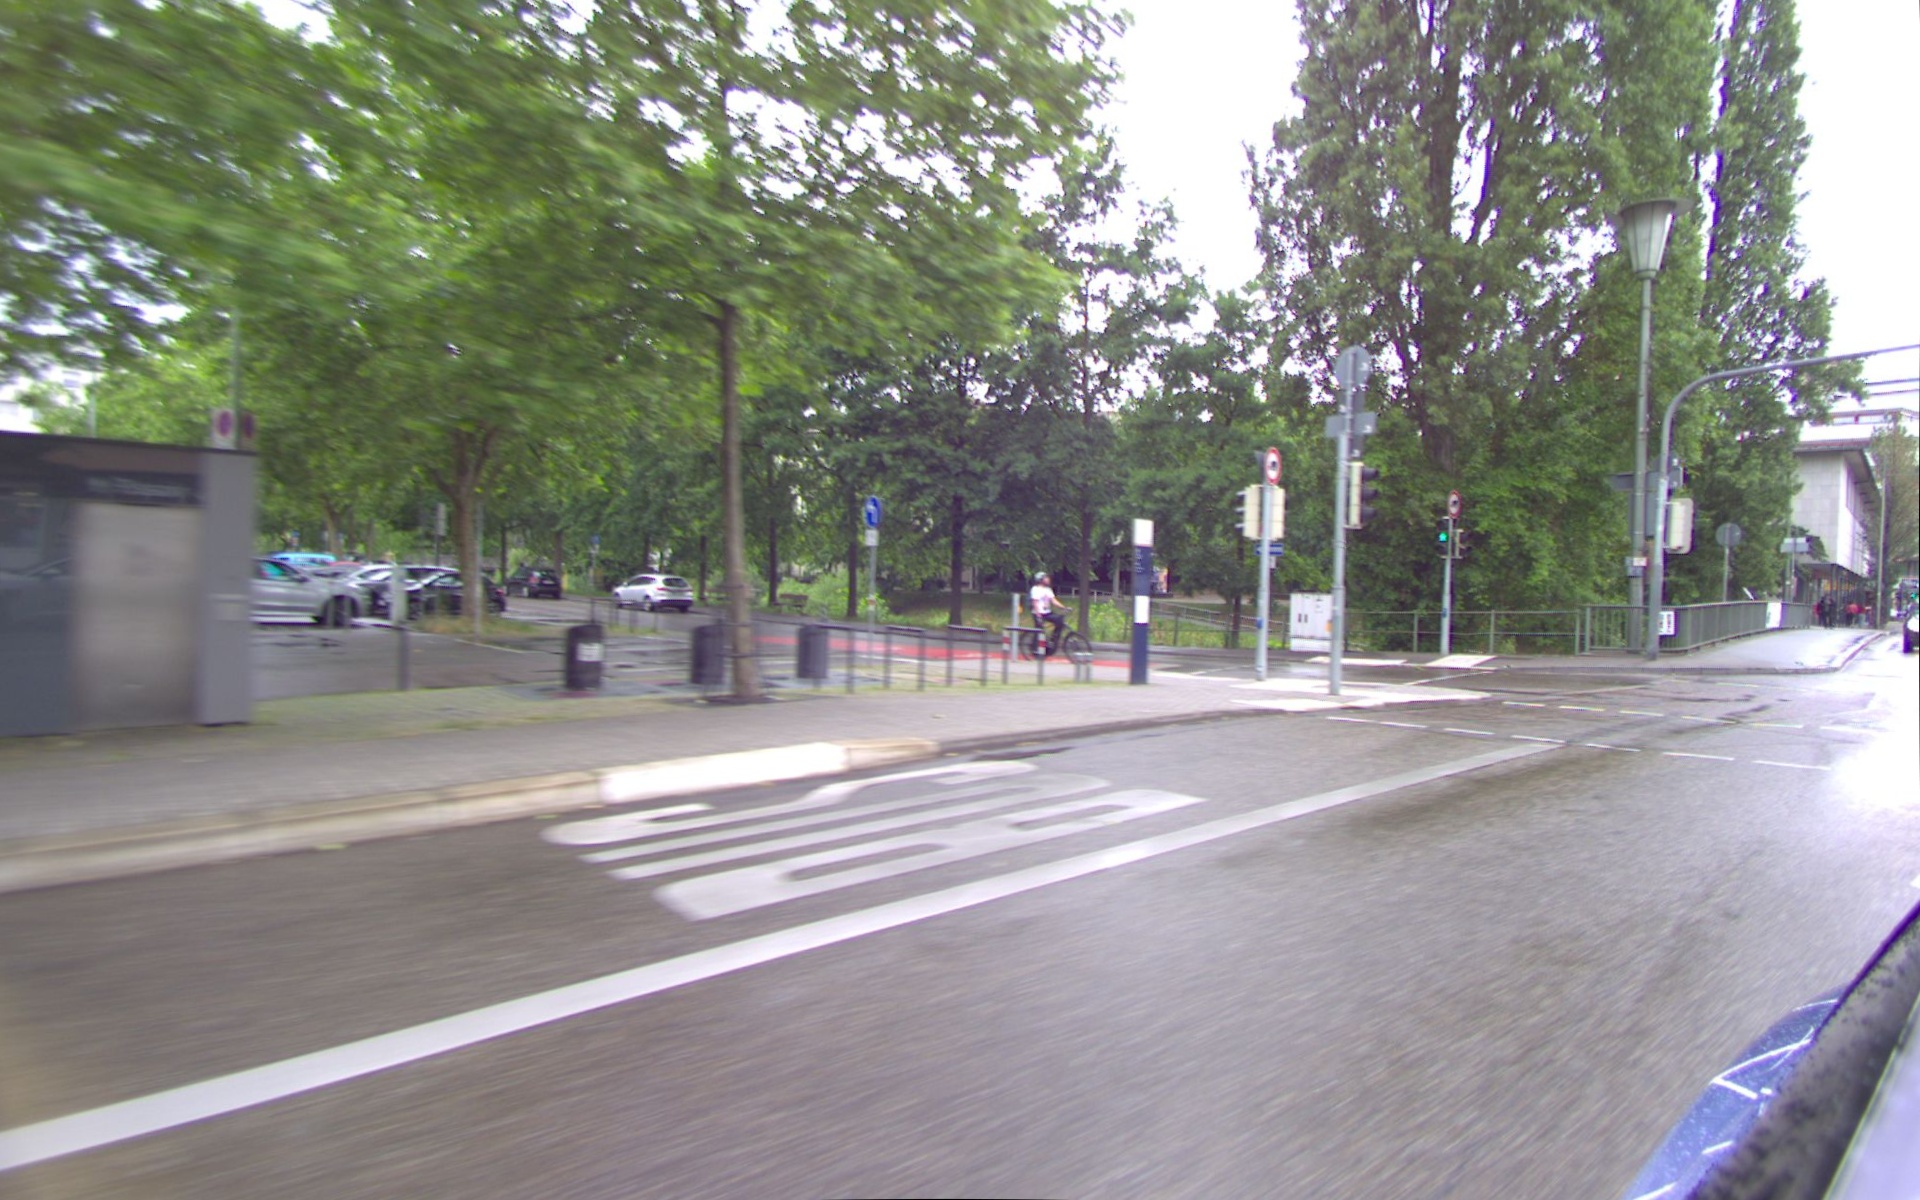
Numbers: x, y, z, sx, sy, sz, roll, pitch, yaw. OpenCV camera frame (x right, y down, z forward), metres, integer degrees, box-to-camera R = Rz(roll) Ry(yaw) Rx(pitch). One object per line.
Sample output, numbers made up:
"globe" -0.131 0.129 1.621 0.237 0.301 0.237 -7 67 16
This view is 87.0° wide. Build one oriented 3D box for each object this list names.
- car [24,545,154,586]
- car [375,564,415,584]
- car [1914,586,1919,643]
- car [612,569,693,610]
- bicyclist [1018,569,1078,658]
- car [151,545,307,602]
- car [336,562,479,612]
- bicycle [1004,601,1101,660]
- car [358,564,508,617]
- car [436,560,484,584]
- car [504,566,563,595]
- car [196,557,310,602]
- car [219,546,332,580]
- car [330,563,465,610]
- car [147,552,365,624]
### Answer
"car" -31.859 -1.239 37.073 3.540 1.441 1.636 0 1 -45
"car" -36.185 -1.672 64.831 1.558 1.291 3.593 0 1 -41
"car" 26.071 0.455 26.007 4.286 1.416 1.895 1 3 -43
"car" -12.504 -0.453 41.008 3.817 1.481 1.444 4 3 44
"bicyclist" 1.843 0.265 21.104 0.979 1.792 0.788 2 2 30
"car" -23.331 -0.837 32.373 3.818 1.709 1.777 0 1 -45
"car" -18.059 -0.433 33.171 3.817 1.566 1.778 0 1 -44
"bicycle" 1.914 0.608 21.093 1.917 1.108 0.643 2 2 31
"car" -16.398 -0.312 31.568 3.817 1.525 1.778 0 1 -44
"car" -28.037 -1.580 56.741 1.607 1.291 3.594 0 1 -40
"car" -21.162 -0.999 50.115 1.691 1.291 3.595 0 3 -40
"car" -28.437 -0.821 40.777 3.540 1.709 1.777 0 1 -45
"car" -30.566 -1.625 45.245 3.981 1.441 1.636 0 1 -45
"car" -19.639 -0.483 35.419 3.817 1.566 1.714 0 1 -44
"car" -18.003 -0.320 26.019 4.372 1.709 1.777 0 1 -45
